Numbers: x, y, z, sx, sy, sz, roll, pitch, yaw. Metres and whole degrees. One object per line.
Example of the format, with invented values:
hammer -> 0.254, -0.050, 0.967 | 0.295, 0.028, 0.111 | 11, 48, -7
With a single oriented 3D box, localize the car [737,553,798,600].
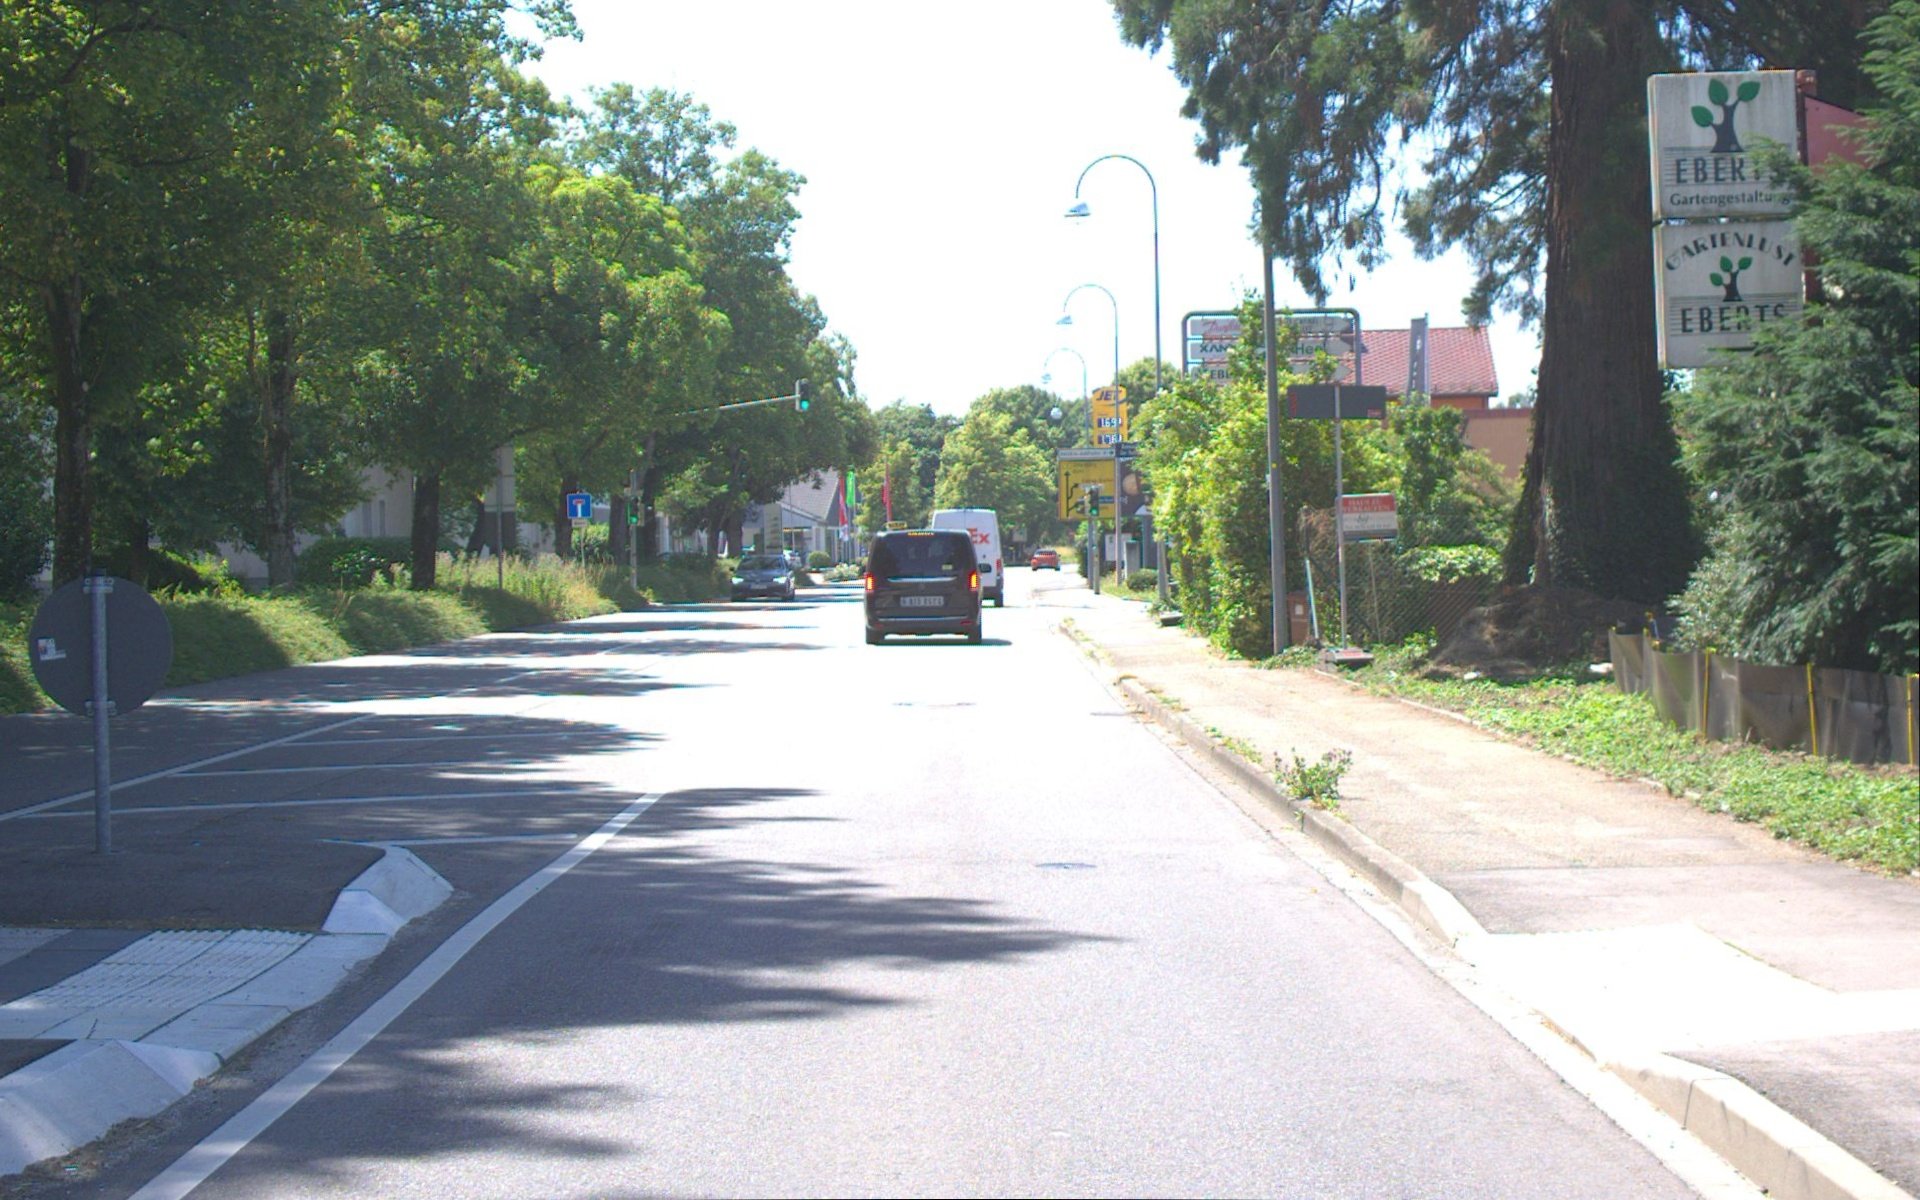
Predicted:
car -> -5.916, -0.743, 105.949 | 1.721, 1.422, 4.148 | 0, 1, -1

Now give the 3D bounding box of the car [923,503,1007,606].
car -> 0.174, -1.251, 92.211 | 2.120, 2.668, 5.662 | 0, 2, 1

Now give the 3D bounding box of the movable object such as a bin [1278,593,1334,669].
movable object such as a bin -> 4.247, 0.379, 42.215 | 0.471, 0.924, 0.523 | 1, 0, 34

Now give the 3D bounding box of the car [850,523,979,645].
car -> -0.776, -0.288, 55.881 | 1.993, 1.886, 4.001 | 0, 2, -2

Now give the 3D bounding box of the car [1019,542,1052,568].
car -> 4.932, -2.964, 225.682 | 1.857, 1.637, 4.001 | 0, 2, -4
